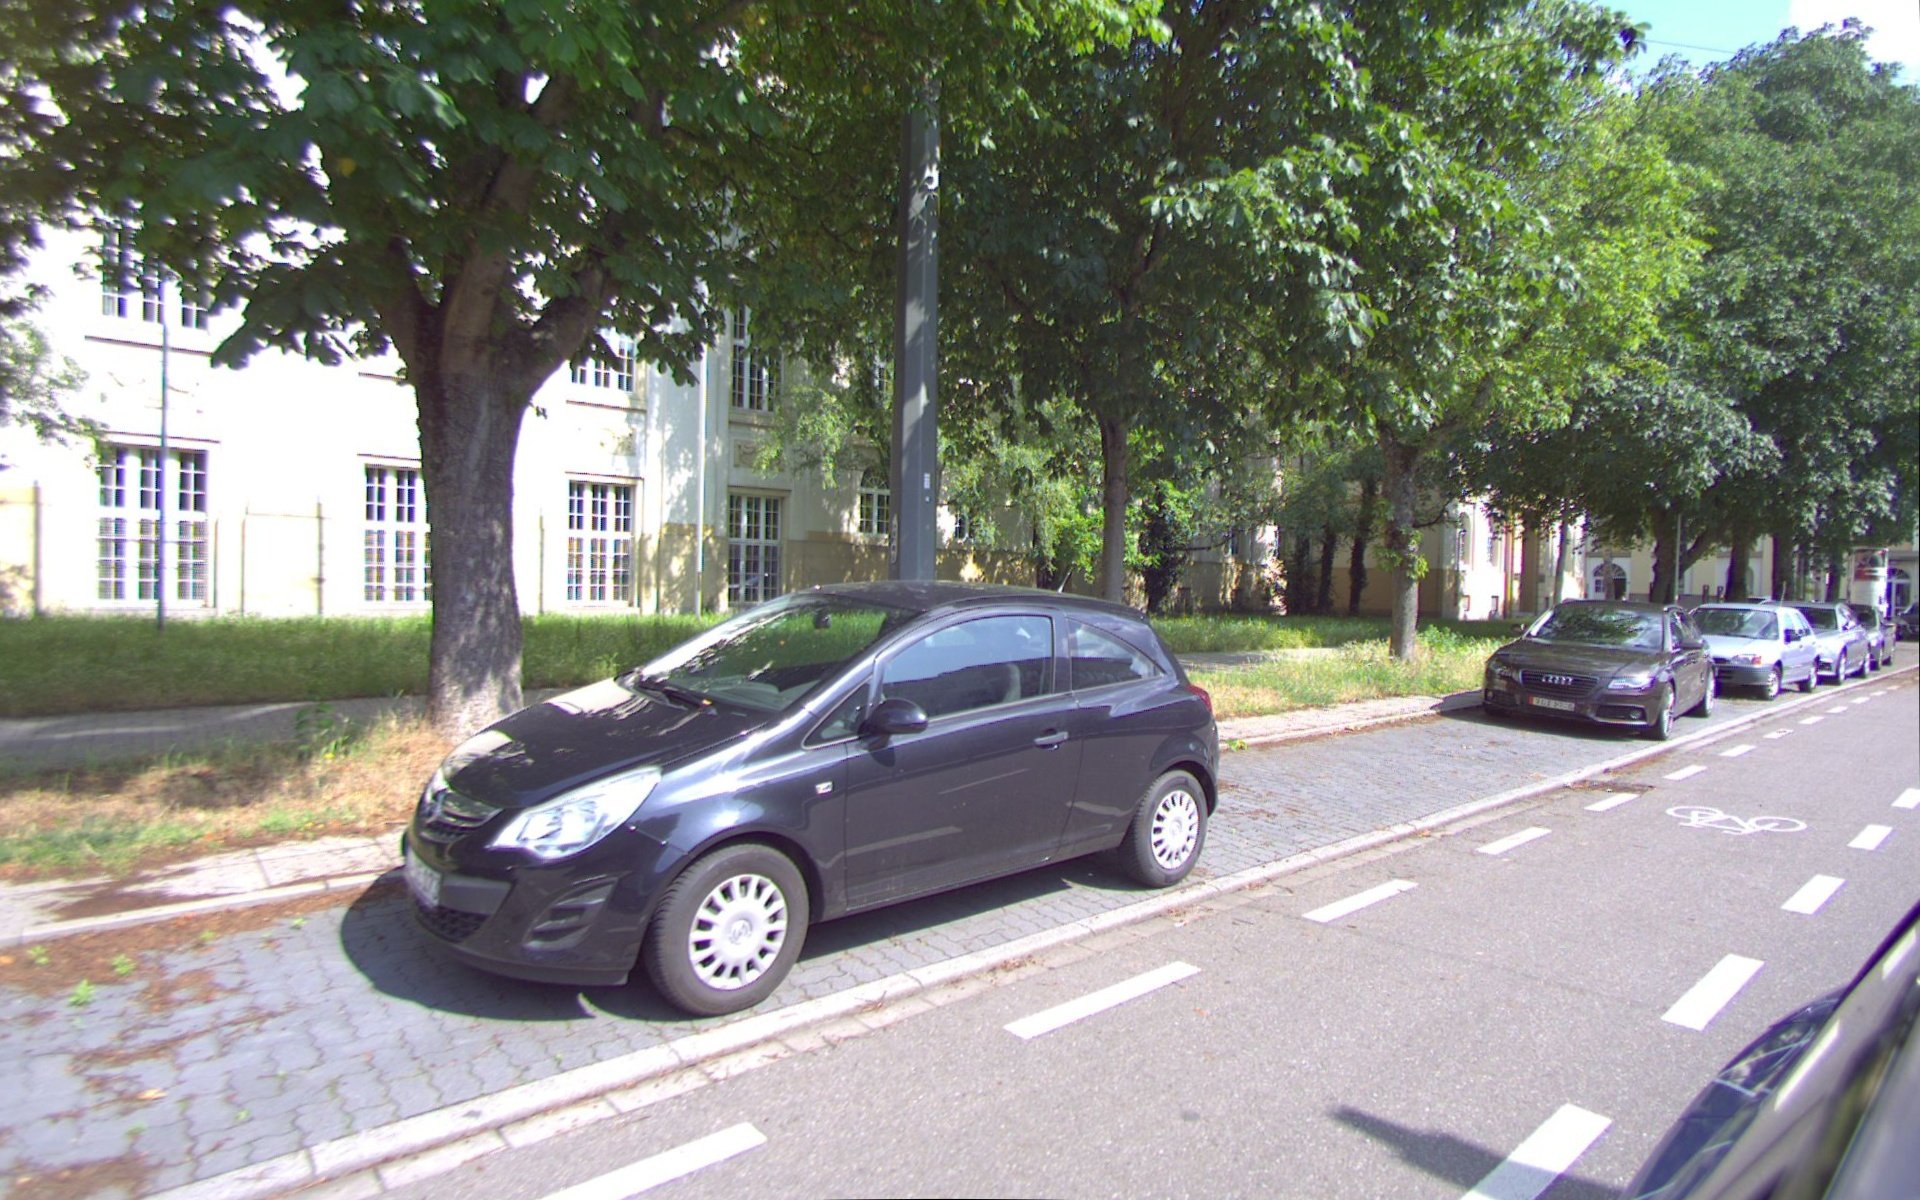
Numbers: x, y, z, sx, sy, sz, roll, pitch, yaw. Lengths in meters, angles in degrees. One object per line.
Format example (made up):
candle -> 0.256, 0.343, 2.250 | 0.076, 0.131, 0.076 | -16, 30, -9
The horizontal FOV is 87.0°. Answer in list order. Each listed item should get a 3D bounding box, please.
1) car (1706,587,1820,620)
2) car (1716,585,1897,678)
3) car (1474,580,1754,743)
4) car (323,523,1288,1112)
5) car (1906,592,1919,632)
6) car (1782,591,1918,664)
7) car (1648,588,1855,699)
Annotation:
car -> 46.408, 0.172, 58.599 | 1.820, 1.676, 4.841 | -1, 2, -30
car -> 16.414, 0.537, 19.533 | 4.961, 1.458, 1.833 | 0, 5, -41
car -> 8.126, 0.567, 12.365 | 4.753, 1.484, 1.833 | -2, 5, -45
car -> -0.393, 0.549, 4.794 | 4.232, 1.580, 1.695 | 0, 5, -41
car -> 36.390, 0.440, 37.367 | 3.855, 1.404, 1.689 | -1, 3, -41
car -> 21.033, 0.596, 23.854 | 4.577, 1.417, 1.833 | 0, 5, -42
car -> 12.632, 0.618, 16.079 | 3.941, 1.448, 1.641 | 1, 4, -39
